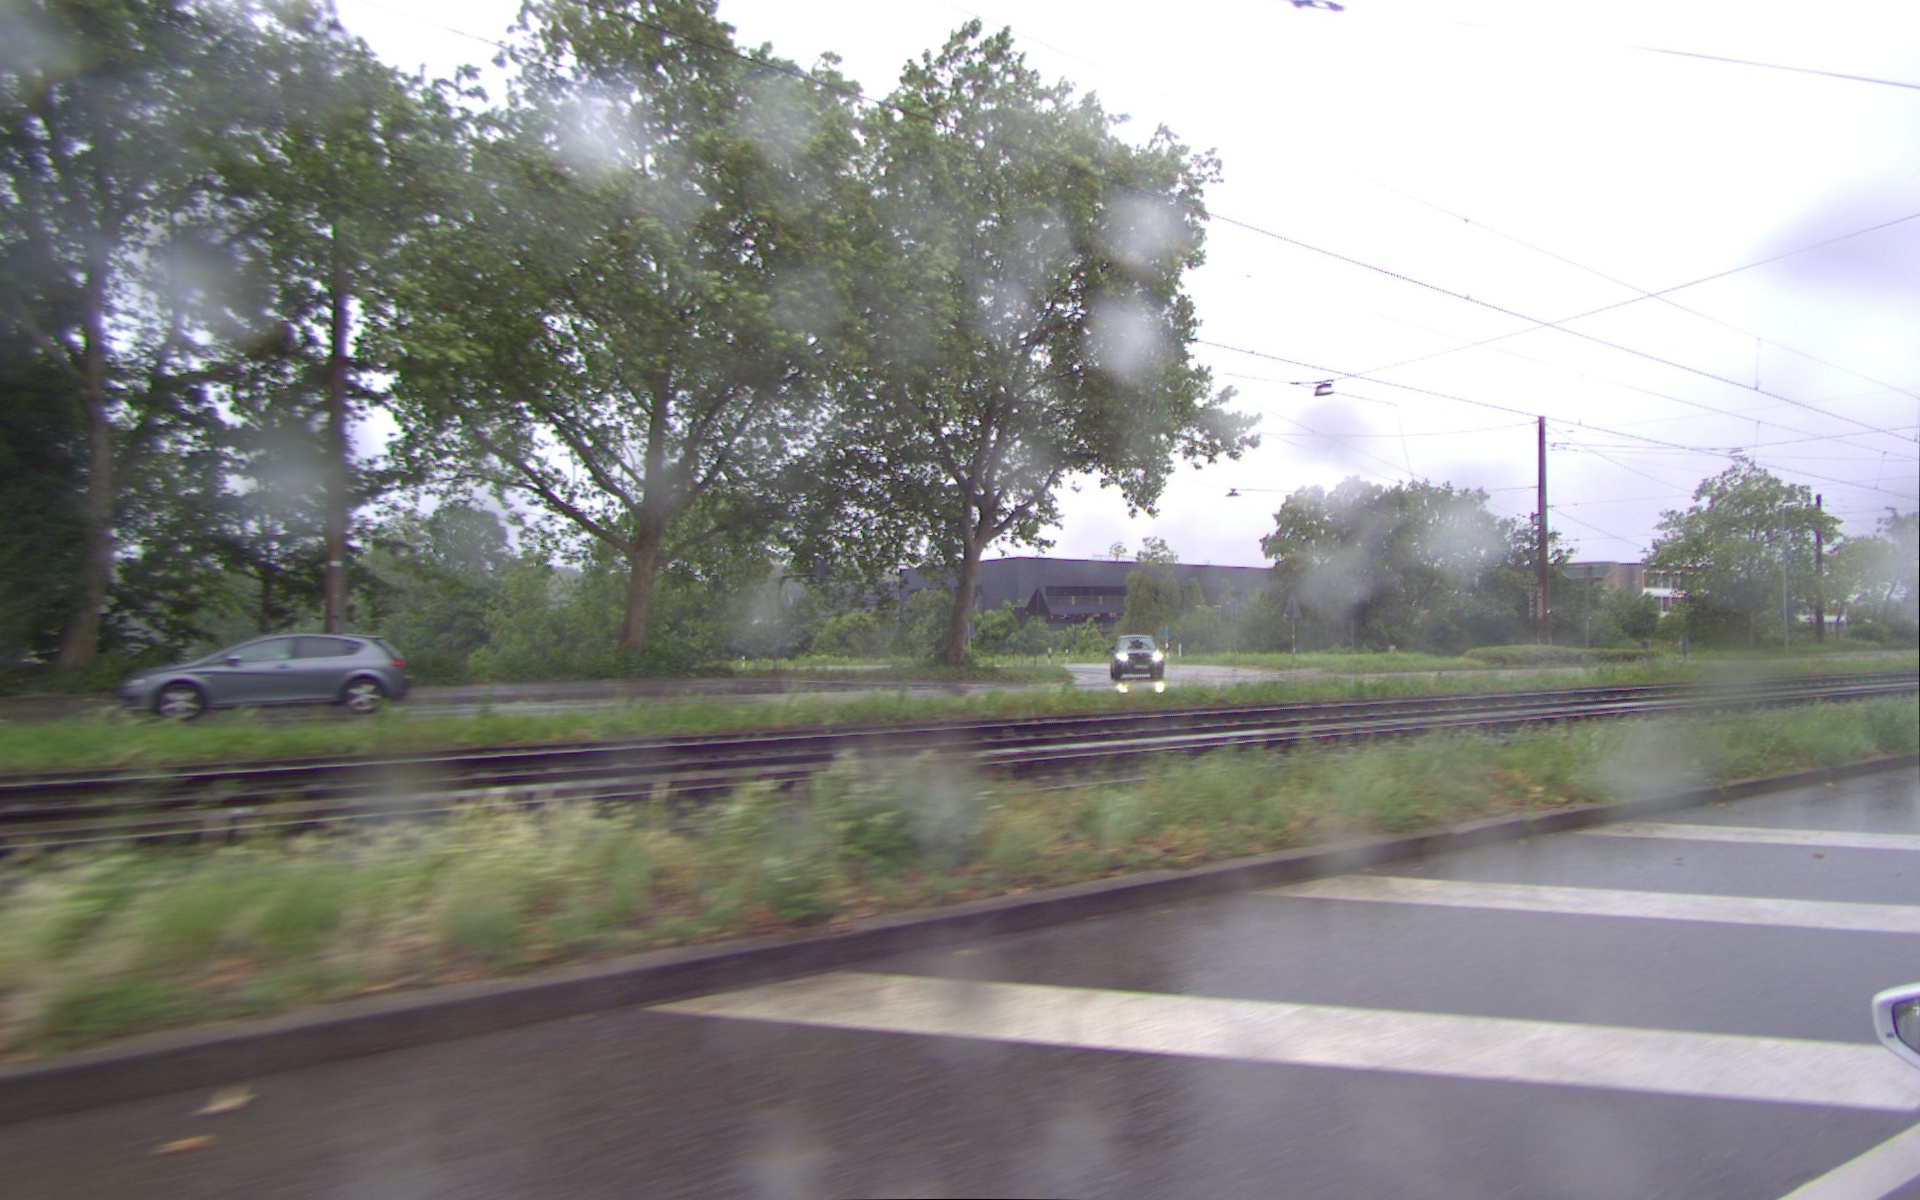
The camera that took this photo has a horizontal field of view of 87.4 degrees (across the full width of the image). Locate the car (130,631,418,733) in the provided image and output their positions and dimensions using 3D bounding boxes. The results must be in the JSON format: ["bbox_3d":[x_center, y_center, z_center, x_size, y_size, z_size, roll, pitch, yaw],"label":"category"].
[{"bbox_3d":[-11.878,1.364,17.688,4.004,1.589,1.641,1,-1,-33],"label":"car"}]

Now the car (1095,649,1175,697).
[{"bbox_3d":[6.530,2.709,37.984,2.176,1.548,4.279,1,-1,-1],"label":"car"}]
